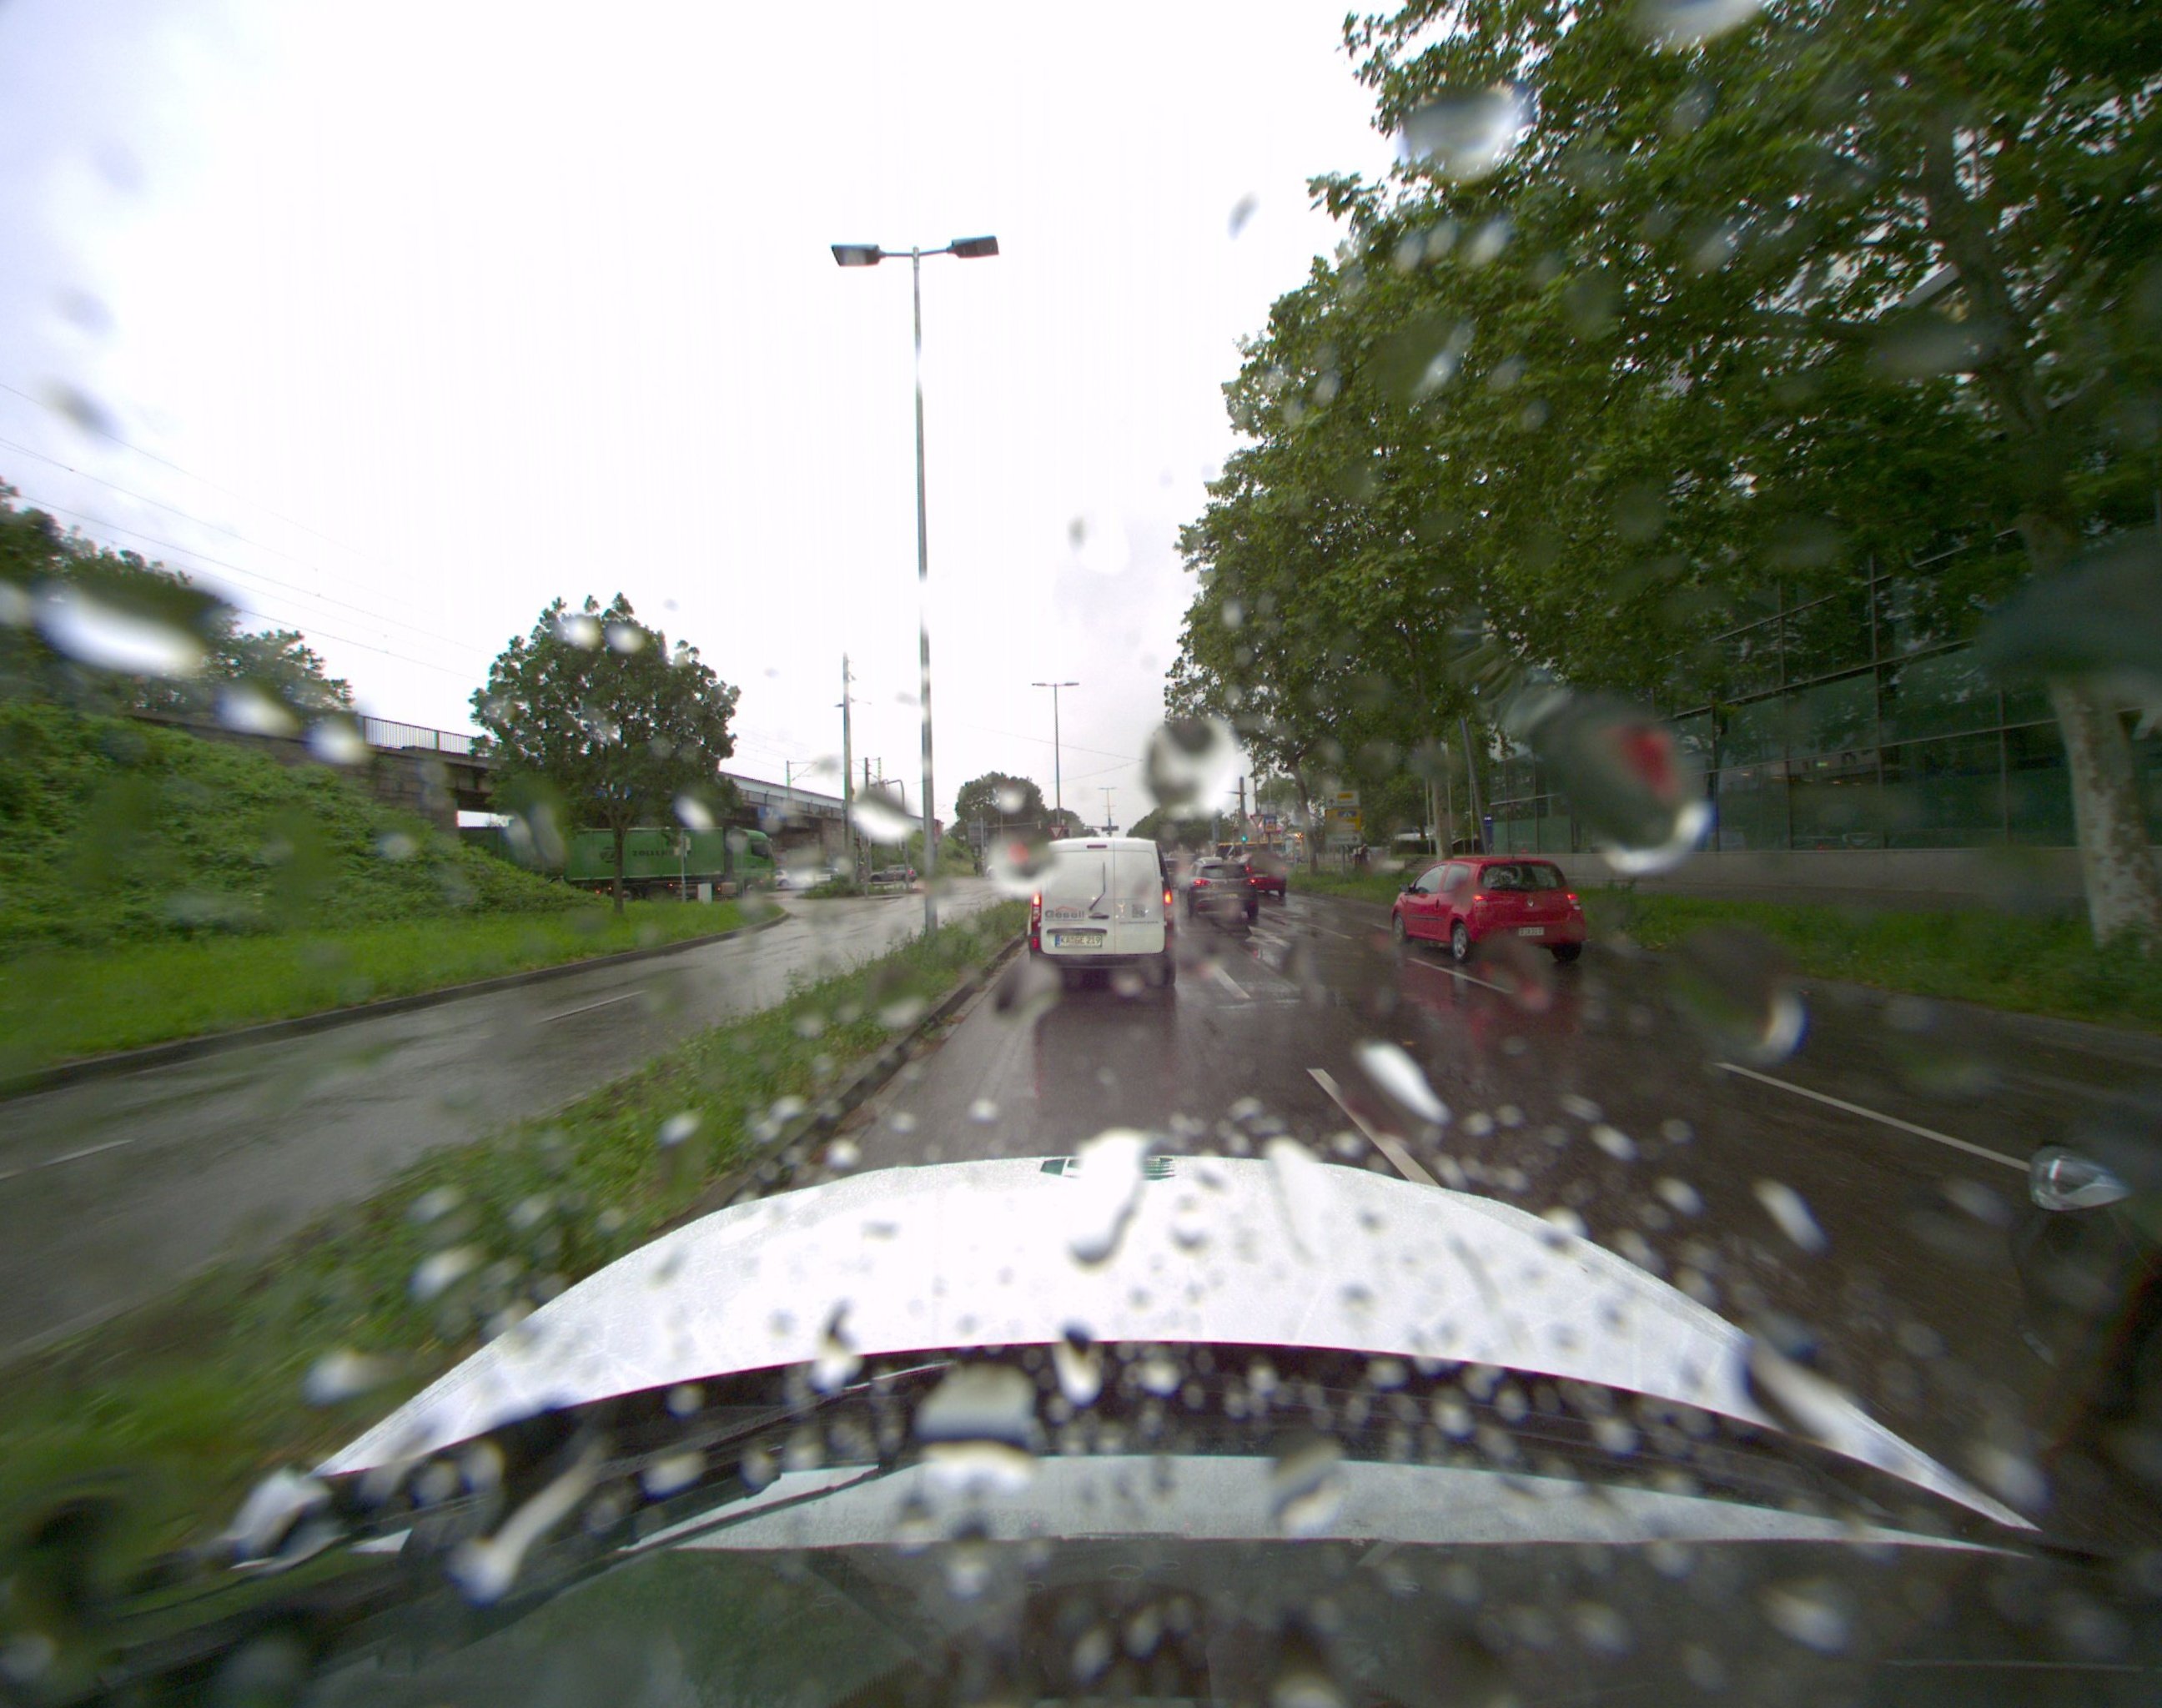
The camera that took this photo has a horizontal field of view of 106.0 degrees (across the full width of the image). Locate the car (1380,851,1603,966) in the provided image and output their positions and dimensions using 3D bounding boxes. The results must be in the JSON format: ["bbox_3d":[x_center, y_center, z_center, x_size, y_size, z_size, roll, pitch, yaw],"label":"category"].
[{"bbox_3d":[6.064,0.727,12.517,1.672,1.491,3.622,-1,0,2],"label":"car"}]

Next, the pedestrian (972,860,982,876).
[{"bbox_3d":[-11.053,1.492,86.600,1.001,1.719,0.818,-2,-1,-7],"label":"pedestrian"}]

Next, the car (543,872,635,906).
[{"bbox_3d":[-26.069,1.820,43.180,4.017,1.574,1.978,-2,0,-36],"label":"car"}]

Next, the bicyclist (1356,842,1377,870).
[{"bbox_3d":[16.100,0.097,45.883,0.802,1.515,0.752,-4,-1,-1],"label":"bicyclist"}]

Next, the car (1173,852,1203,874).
[{"bbox_3d":[8.177,0.663,62.580,1.985,1.574,4.004,-2,0,4],"label":"car"}]

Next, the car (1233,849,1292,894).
[{"bbox_3d":[7.073,0.665,31.974,1.626,1.656,3.486,0,0,2],"label":"car"}]

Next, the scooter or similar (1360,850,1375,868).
[{"bbox_3d":[19.347,0.336,54.992,1.181,1.138,0.337,-2,0,-38],"label":"scooter or similar"}]

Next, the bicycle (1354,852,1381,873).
[{"bbox_3d":[16.124,0.467,45.866,0.741,1.104,2.076,-4,-1,0],"label":"bicycle"}]

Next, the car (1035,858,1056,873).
[{"bbox_3d":[-4.282,1.373,98.719,2.013,1.657,4.067,-2,0,5],"label":"car"}]

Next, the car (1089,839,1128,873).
[{"bbox_3d":[1.685,0.080,51.646,1.989,1.956,4.816,-3,0,-2],"label":"car"}]

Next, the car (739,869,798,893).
[{"bbox_3d":[-24.005,2.048,62.612,4.010,1.604,1.881,-2,-1,-28],"label":"car"}]

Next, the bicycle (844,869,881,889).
[{"bbox_3d":[-12.290,1.407,45.820,1.916,1.095,0.689,-1,-1,-26],"label":"bicycle"}]

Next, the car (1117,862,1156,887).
[{"bbox_3d":[3.916,1.458,58.123,1.993,1.619,3.932,-2,0,-9],"label":"car"}]

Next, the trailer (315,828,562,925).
[{"bbox_3d":[-28.822,0.893,37.141,8.556,3.987,2.660,-2,-1,-35],"label":"trailer"}]

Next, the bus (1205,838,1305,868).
[{"bbox_3d":[22.468,-0.099,105.753,12.206,3.268,3.275,-2,-1,1],"label":"bus"}]

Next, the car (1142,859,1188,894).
[{"bbox_3d":[4.134,1.058,40.643,1.830,1.656,3.998,0,0,-1],"label":"car"}]

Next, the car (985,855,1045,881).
[{"bbox_3d":[-5.097,1.086,62.421,4.384,1.846,2.013,-2,-1,40],"label":"car"}]

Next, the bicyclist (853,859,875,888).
[{"bbox_3d":[-12.213,1.089,45.851,1.049,1.593,0.798,0,-1,-26],"label":"bicyclist"}]

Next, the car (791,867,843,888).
[{"bbox_3d":[-22.084,1.951,68.195,3.856,1.573,1.850,-2,-1,-27],"label":"car"}]

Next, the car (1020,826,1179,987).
[{"bbox_3d":[0.272,0.597,11.057,1.749,1.777,4.001,-1,0,2],"label":"car"}]

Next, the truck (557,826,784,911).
[{"bbox_3d":[-21.175,0.598,42.552,10.238,3.949,2.659,-2,-1,-35],"label":"truck"}]

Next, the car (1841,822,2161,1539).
[{"bbox_3d":[3.204,0.657,0.377,1.864,1.523,4.086,-2,0,0],"label":"car"}]

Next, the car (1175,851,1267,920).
[{"bbox_3d":[3.530,0.765,21.226,1.836,1.618,4.001,0,-1,2],"label":"car"}]

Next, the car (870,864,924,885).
[{"bbox_3d":[-14.791,1.623,65.577,3.870,1.517,1.810,-2,0,3],"label":"car"}]
